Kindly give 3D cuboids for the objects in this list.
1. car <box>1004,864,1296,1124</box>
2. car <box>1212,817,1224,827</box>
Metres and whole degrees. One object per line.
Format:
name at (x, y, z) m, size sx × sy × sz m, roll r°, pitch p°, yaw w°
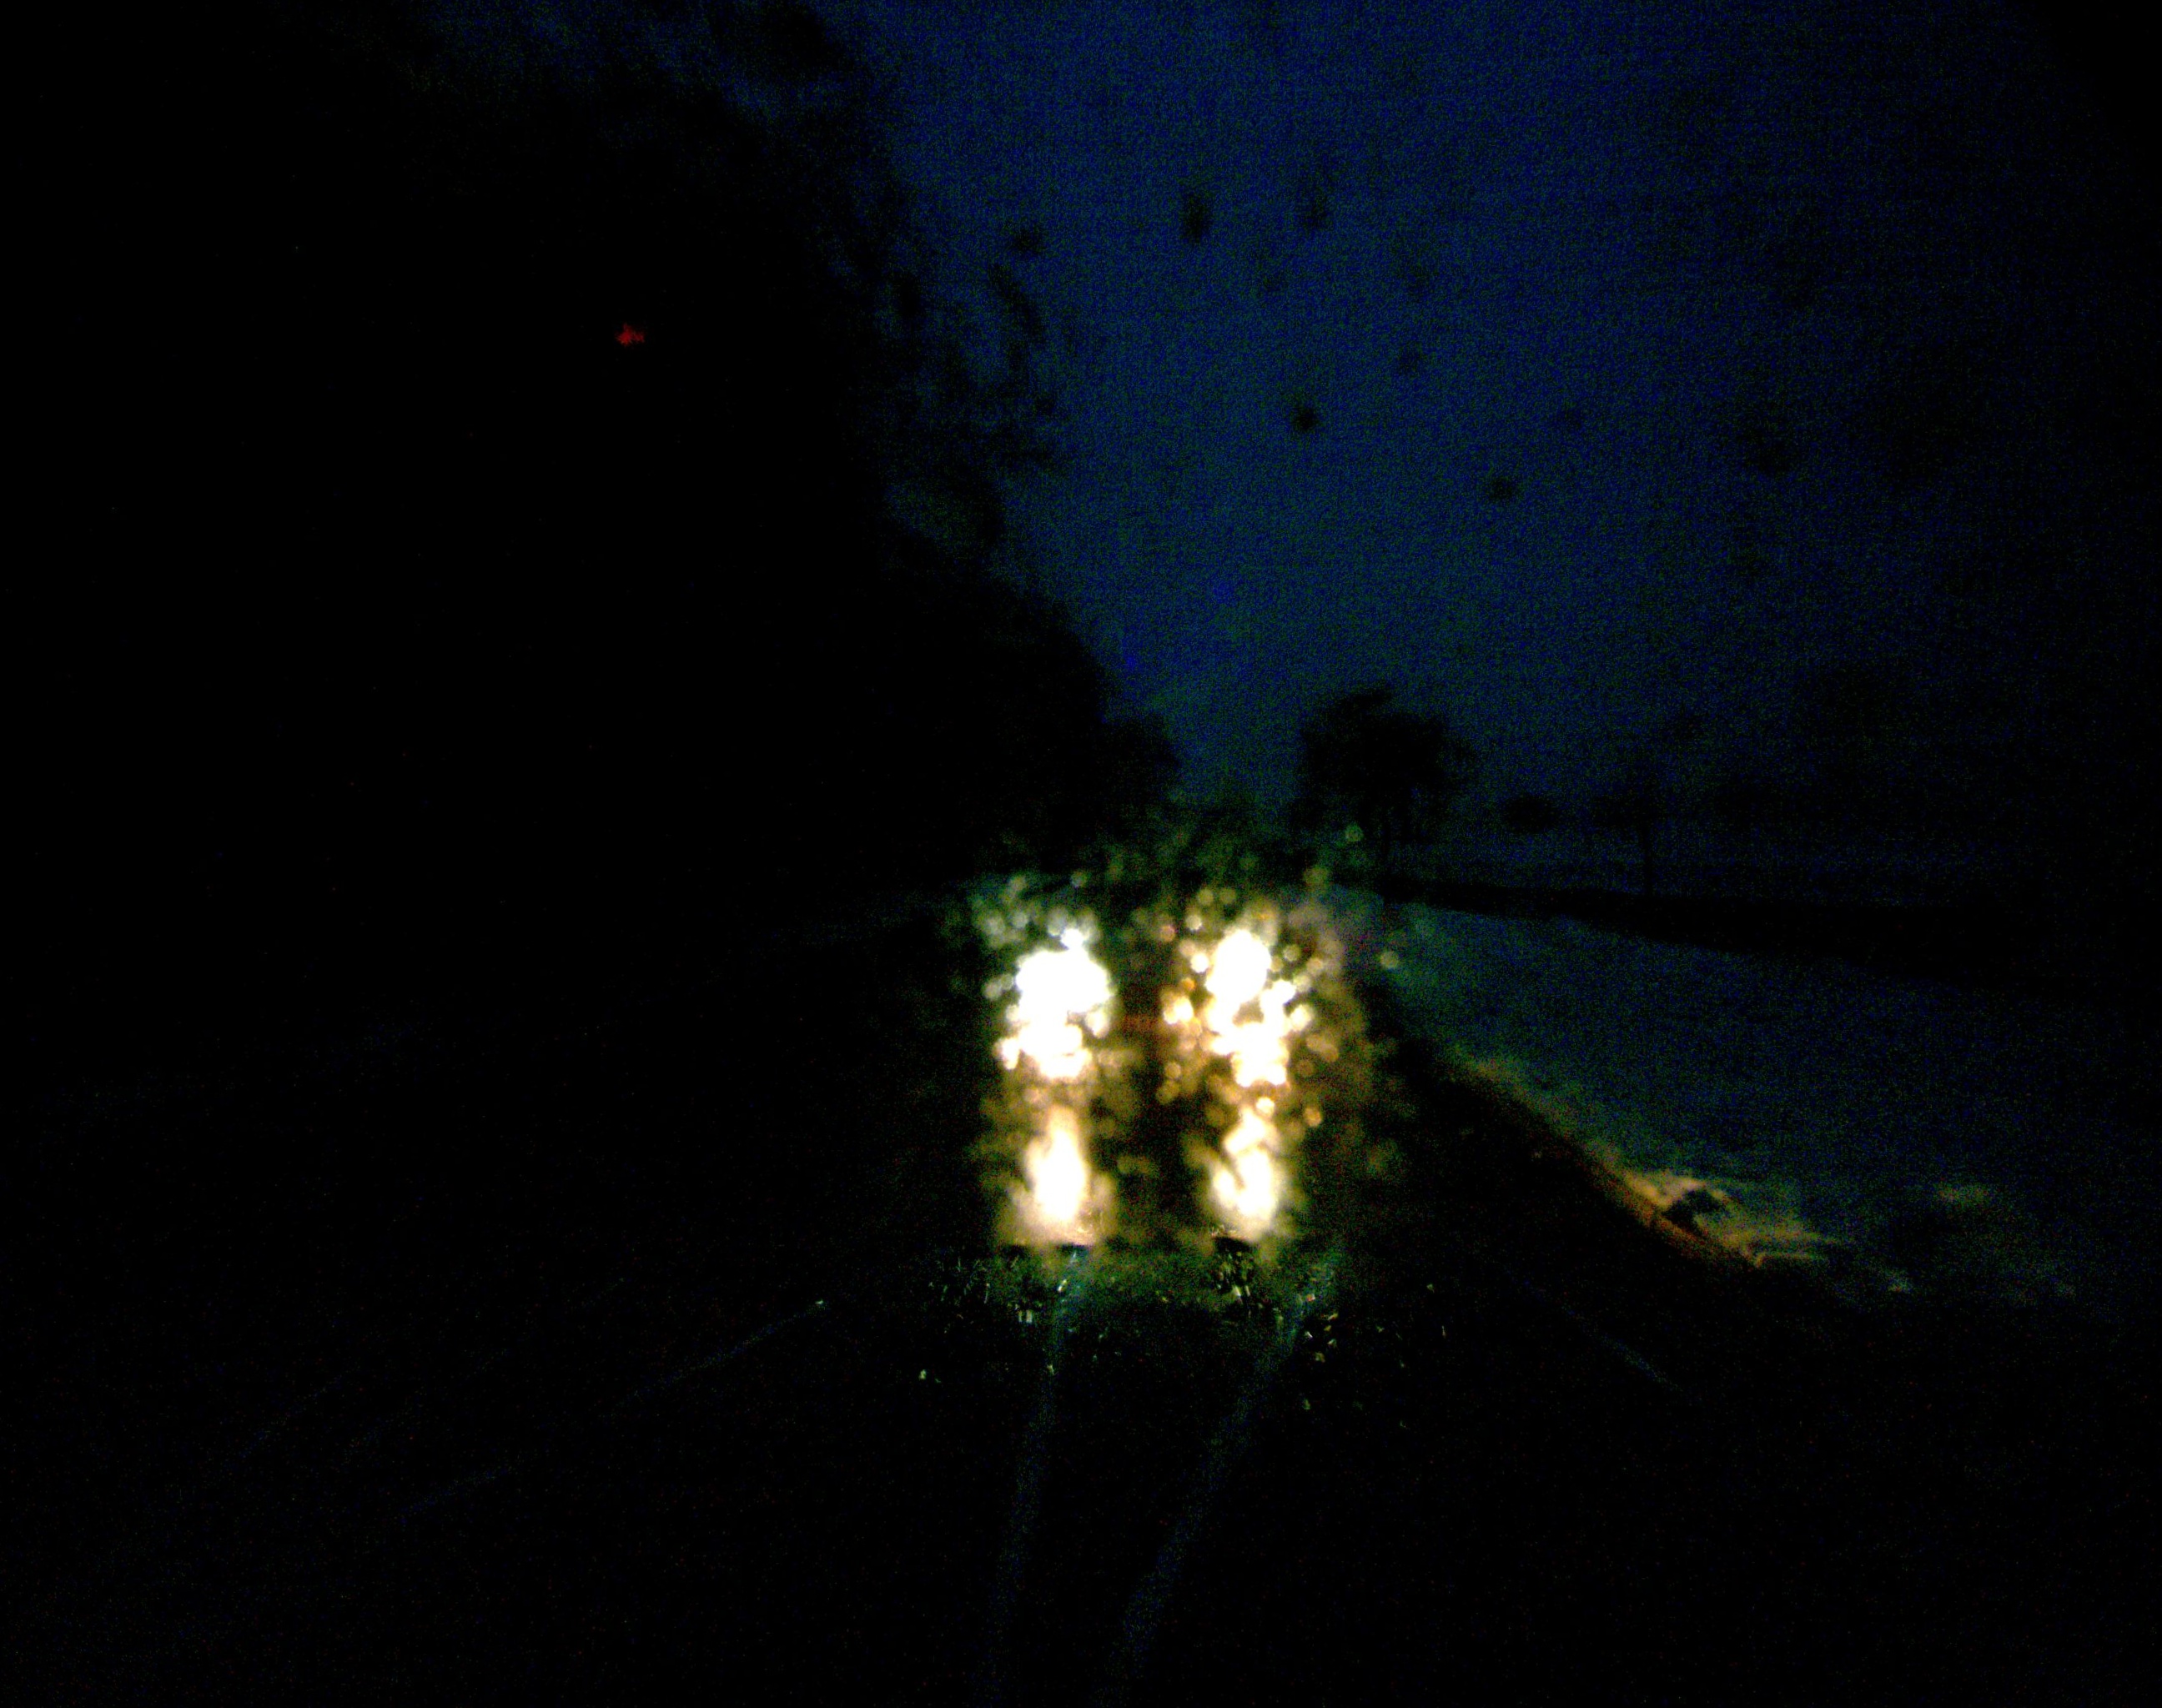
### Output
car at (0.513, 0.893, 6.480) m, size 1.725 × 1.426 × 3.677 m, roll -2°, pitch 1°, yaw 3°
car at (25.767, -6.017, 142.818) m, size 1.997 × 1.797 × 4.001 m, roll -2°, pitch 2°, yaw 9°
